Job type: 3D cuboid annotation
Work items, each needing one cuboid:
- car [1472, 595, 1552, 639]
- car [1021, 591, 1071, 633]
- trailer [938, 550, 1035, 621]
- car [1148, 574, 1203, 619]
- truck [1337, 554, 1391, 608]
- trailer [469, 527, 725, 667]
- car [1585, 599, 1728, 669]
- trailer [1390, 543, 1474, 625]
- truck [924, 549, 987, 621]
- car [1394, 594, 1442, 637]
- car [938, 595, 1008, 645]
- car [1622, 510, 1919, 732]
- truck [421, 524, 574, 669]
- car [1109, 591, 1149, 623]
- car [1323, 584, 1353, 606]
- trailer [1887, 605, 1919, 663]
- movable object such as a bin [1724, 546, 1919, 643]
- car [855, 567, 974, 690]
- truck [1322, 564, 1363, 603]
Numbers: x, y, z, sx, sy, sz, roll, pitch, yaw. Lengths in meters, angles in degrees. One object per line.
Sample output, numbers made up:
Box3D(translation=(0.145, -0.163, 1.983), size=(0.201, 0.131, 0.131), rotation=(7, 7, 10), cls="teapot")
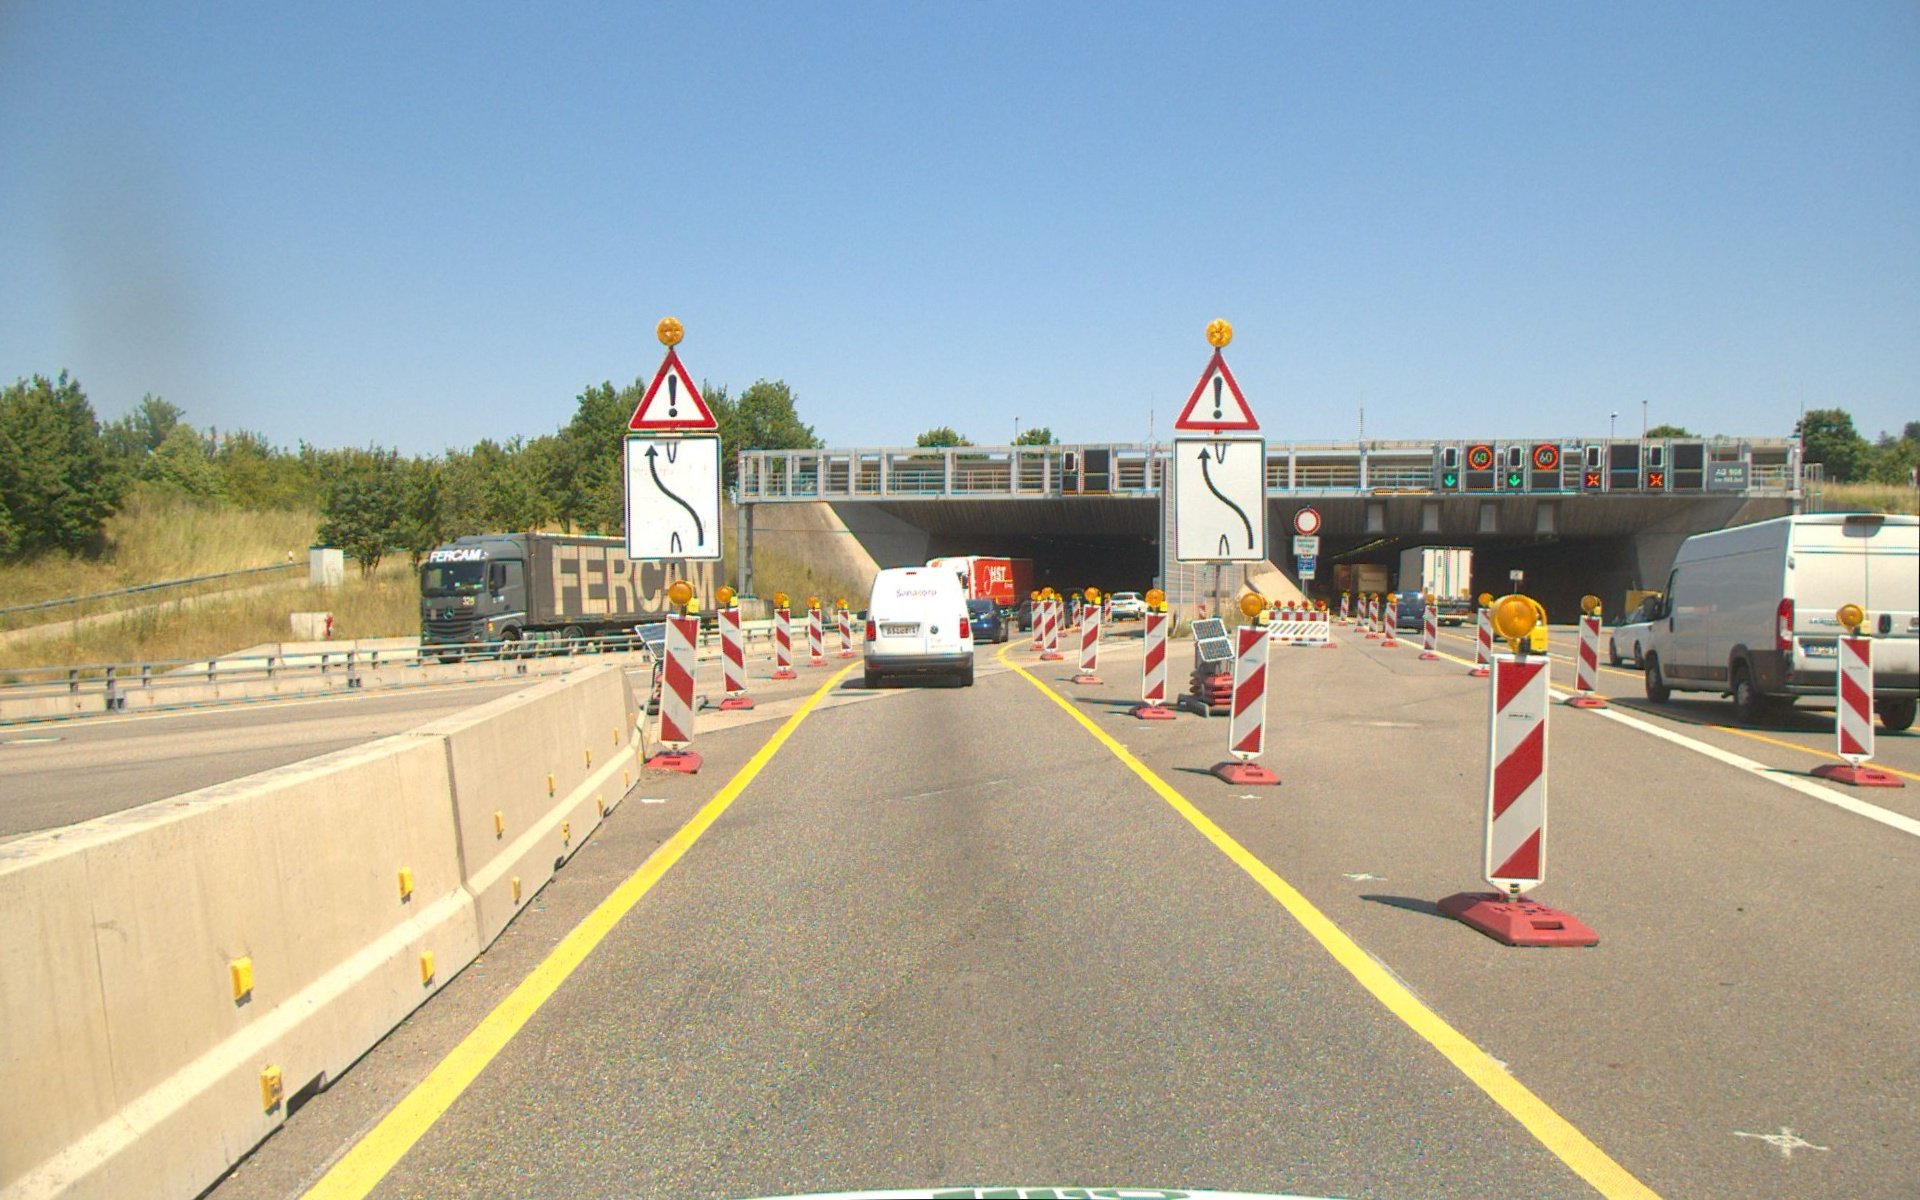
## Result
Box3D(translation=(19.986, 0.615, 60.051), size=(1.776, 1.490, 4.656), rotation=(2, 0, 6), cls="car")
Box3D(translation=(3.911, 0.524, 74.777), size=(1.770, 1.847, 4.413), rotation=(-1, 0, 10), cls="car")
Box3D(translation=(1.857, -0.820, 104.532), size=(2.288, 4.174, 13.267), rotation=(-1, 0, 18), cls="trailer")
Box3D(translation=(14.563, -0.184, 111.268), size=(2.754, 2.822, 7.106), rotation=(1, -1, 14), cls="car")
Box3D(translation=(37.853, -1.655, 155.422), size=(3.329, 4.411, 16.548), rotation=(2, -1, 9), cls="truck")
Box3D(translation=(-12.434, -0.087, 58.880), size=(2.384, 4.372, 13.816), rotation=(0, 0, 17), cls="trailer")
Box3D(translation=(16.554, 0.830, 39.564), size=(1.777, 1.490, 4.654), rotation=(2, -1, 5), cls="car")
Box3D(translation=(26.008, -0.784, 91.809), size=(2.674, 4.133, 14.106), rotation=(2, 0, 9), cls="trailer")
Box3D(translation=(-0.210, -0.857, 98.109), size=(2.285, 4.180, 5.020), rotation=(-1, 0, 17), cls="truck")
Box3D(translation=(18.709, 0.636, 67.760), size=(1.776, 1.671, 4.656), rotation=(2, 0, 15), cls="car")
Box3D(translation=(0.467, 0.633, 54.421), size=(1.770, 1.564, 4.413), rotation=(-1, 0, 7), cls="car")
Box3D(translation=(11.191, 0.264, 22.725), size=(2.217, 2.580, 6.589), rotation=(1, 0, 7), cls="car")
Box3D(translation=(-14.517, -0.094, 52.202), size=(2.380, 4.345, 4.841), rotation=(0, 0, 17), cls="truck")
Box3D(translation=(9.680, 0.419, 94.585), size=(1.770, 1.781, 4.413), rotation=(-1, 0, 12), cls="car")
Box3D(translation=(30.291, -0.373, 132.641), size=(1.776, 1.658, 4.193), rotation=(2, 0, 6), cls="car")
Box3D(translation=(28.317, 0.960, 45.518), size=(2.540, 1.596, 6.239), rotation=(-1, 0, 5), cls="trailer")
Box3D(translation=(31.626, -0.147, 59.960), size=(3.045, 3.063, 14.713), rotation=(-1, 0, 9), cls="movable object such as a bin")
Box3D(translation=(-0.692, 0.431, 26.711), size=(1.771, 1.825, 3.731), rotation=(0, 0, 0), cls="car")
Box3D(translation=(44.923, -1.879, 194.825), size=(3.329, 4.142, 16.549), rotation=(2, 0, 9), cls="truck")
